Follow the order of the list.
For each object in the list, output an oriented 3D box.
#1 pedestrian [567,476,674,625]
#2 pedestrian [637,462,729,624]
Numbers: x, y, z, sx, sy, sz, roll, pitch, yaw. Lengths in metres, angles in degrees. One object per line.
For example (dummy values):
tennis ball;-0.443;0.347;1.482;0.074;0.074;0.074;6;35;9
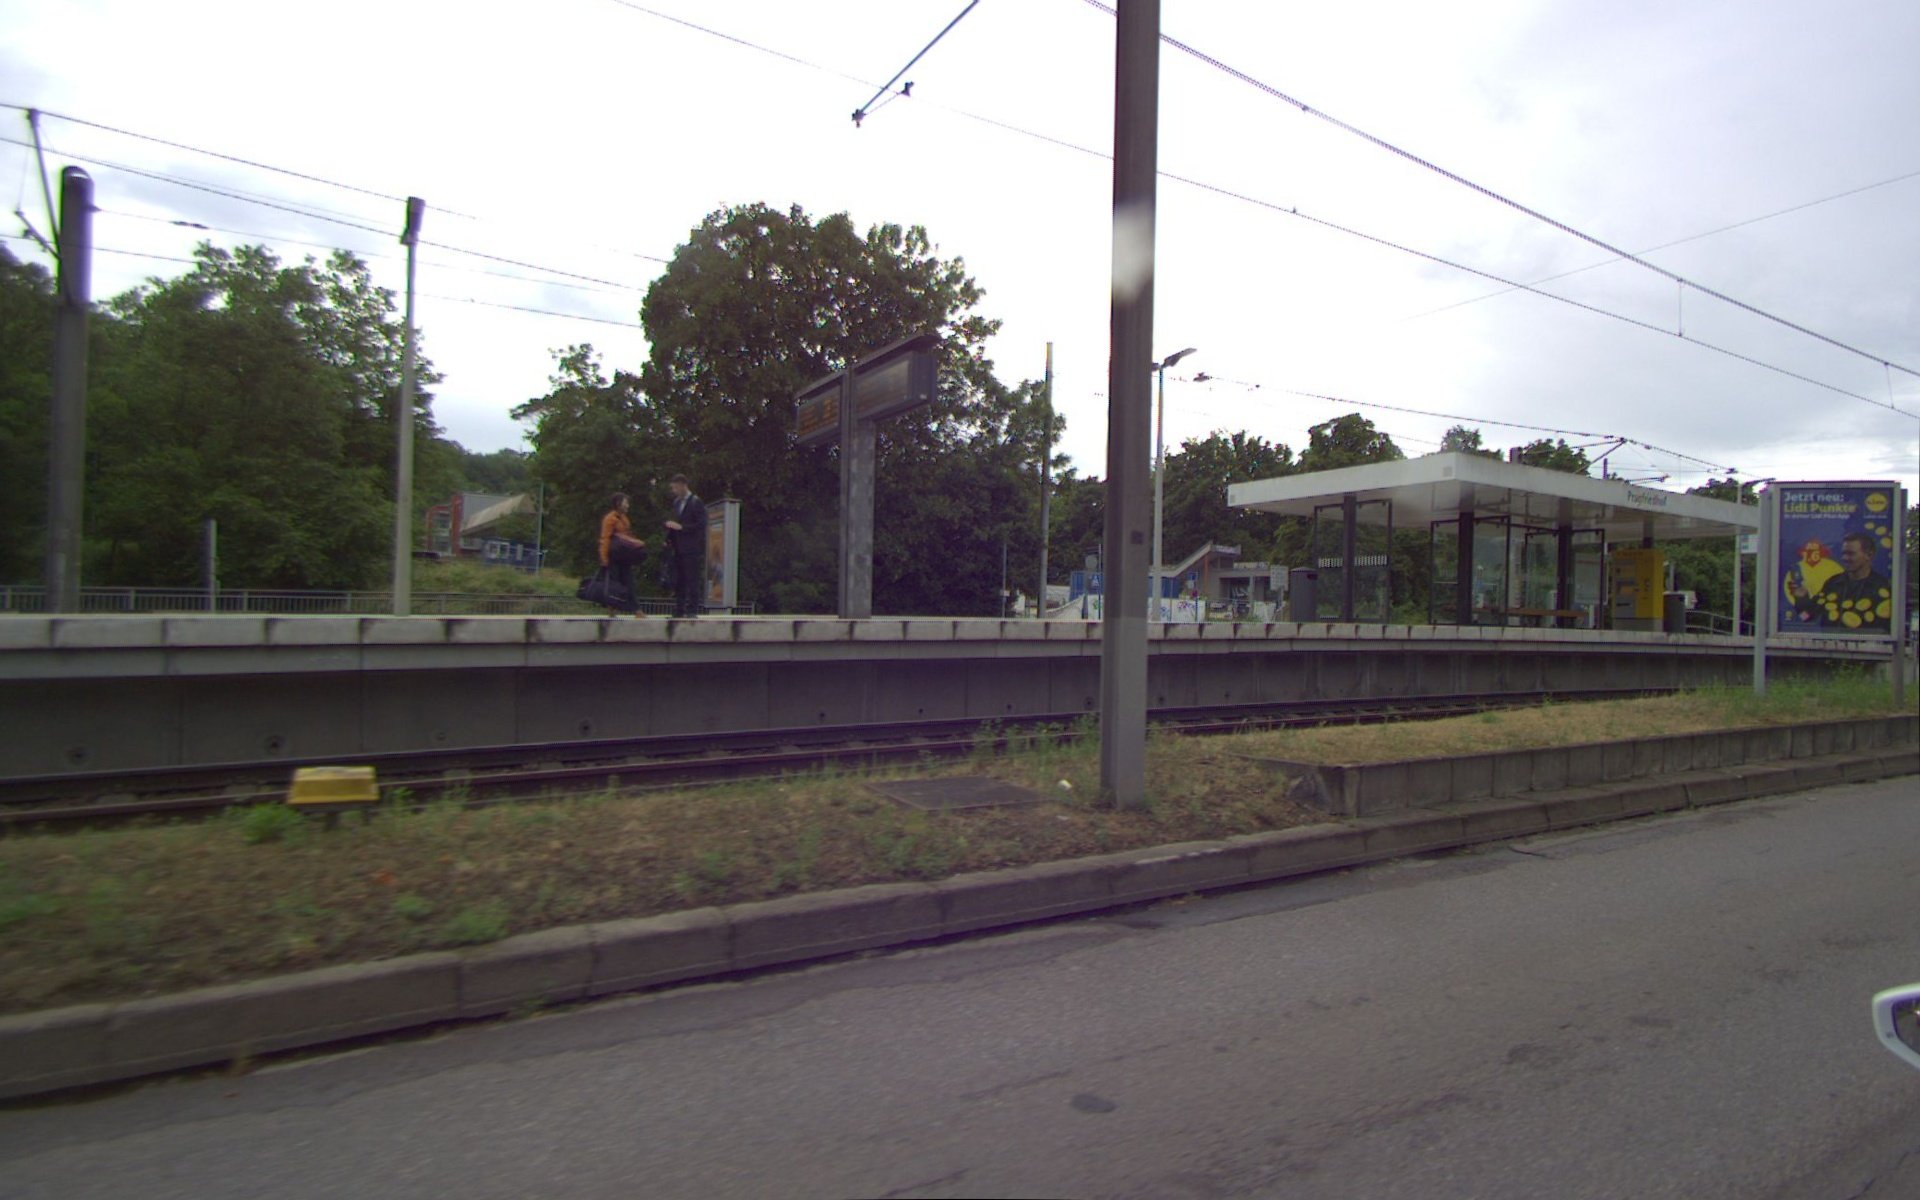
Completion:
pedestrian;-4.011;-0.573;11.876;0.785;1.669;0.915;2;3;38
pedestrian;-3.457;-0.703;12.562;0.734;1.935;0.838;2;3;38
